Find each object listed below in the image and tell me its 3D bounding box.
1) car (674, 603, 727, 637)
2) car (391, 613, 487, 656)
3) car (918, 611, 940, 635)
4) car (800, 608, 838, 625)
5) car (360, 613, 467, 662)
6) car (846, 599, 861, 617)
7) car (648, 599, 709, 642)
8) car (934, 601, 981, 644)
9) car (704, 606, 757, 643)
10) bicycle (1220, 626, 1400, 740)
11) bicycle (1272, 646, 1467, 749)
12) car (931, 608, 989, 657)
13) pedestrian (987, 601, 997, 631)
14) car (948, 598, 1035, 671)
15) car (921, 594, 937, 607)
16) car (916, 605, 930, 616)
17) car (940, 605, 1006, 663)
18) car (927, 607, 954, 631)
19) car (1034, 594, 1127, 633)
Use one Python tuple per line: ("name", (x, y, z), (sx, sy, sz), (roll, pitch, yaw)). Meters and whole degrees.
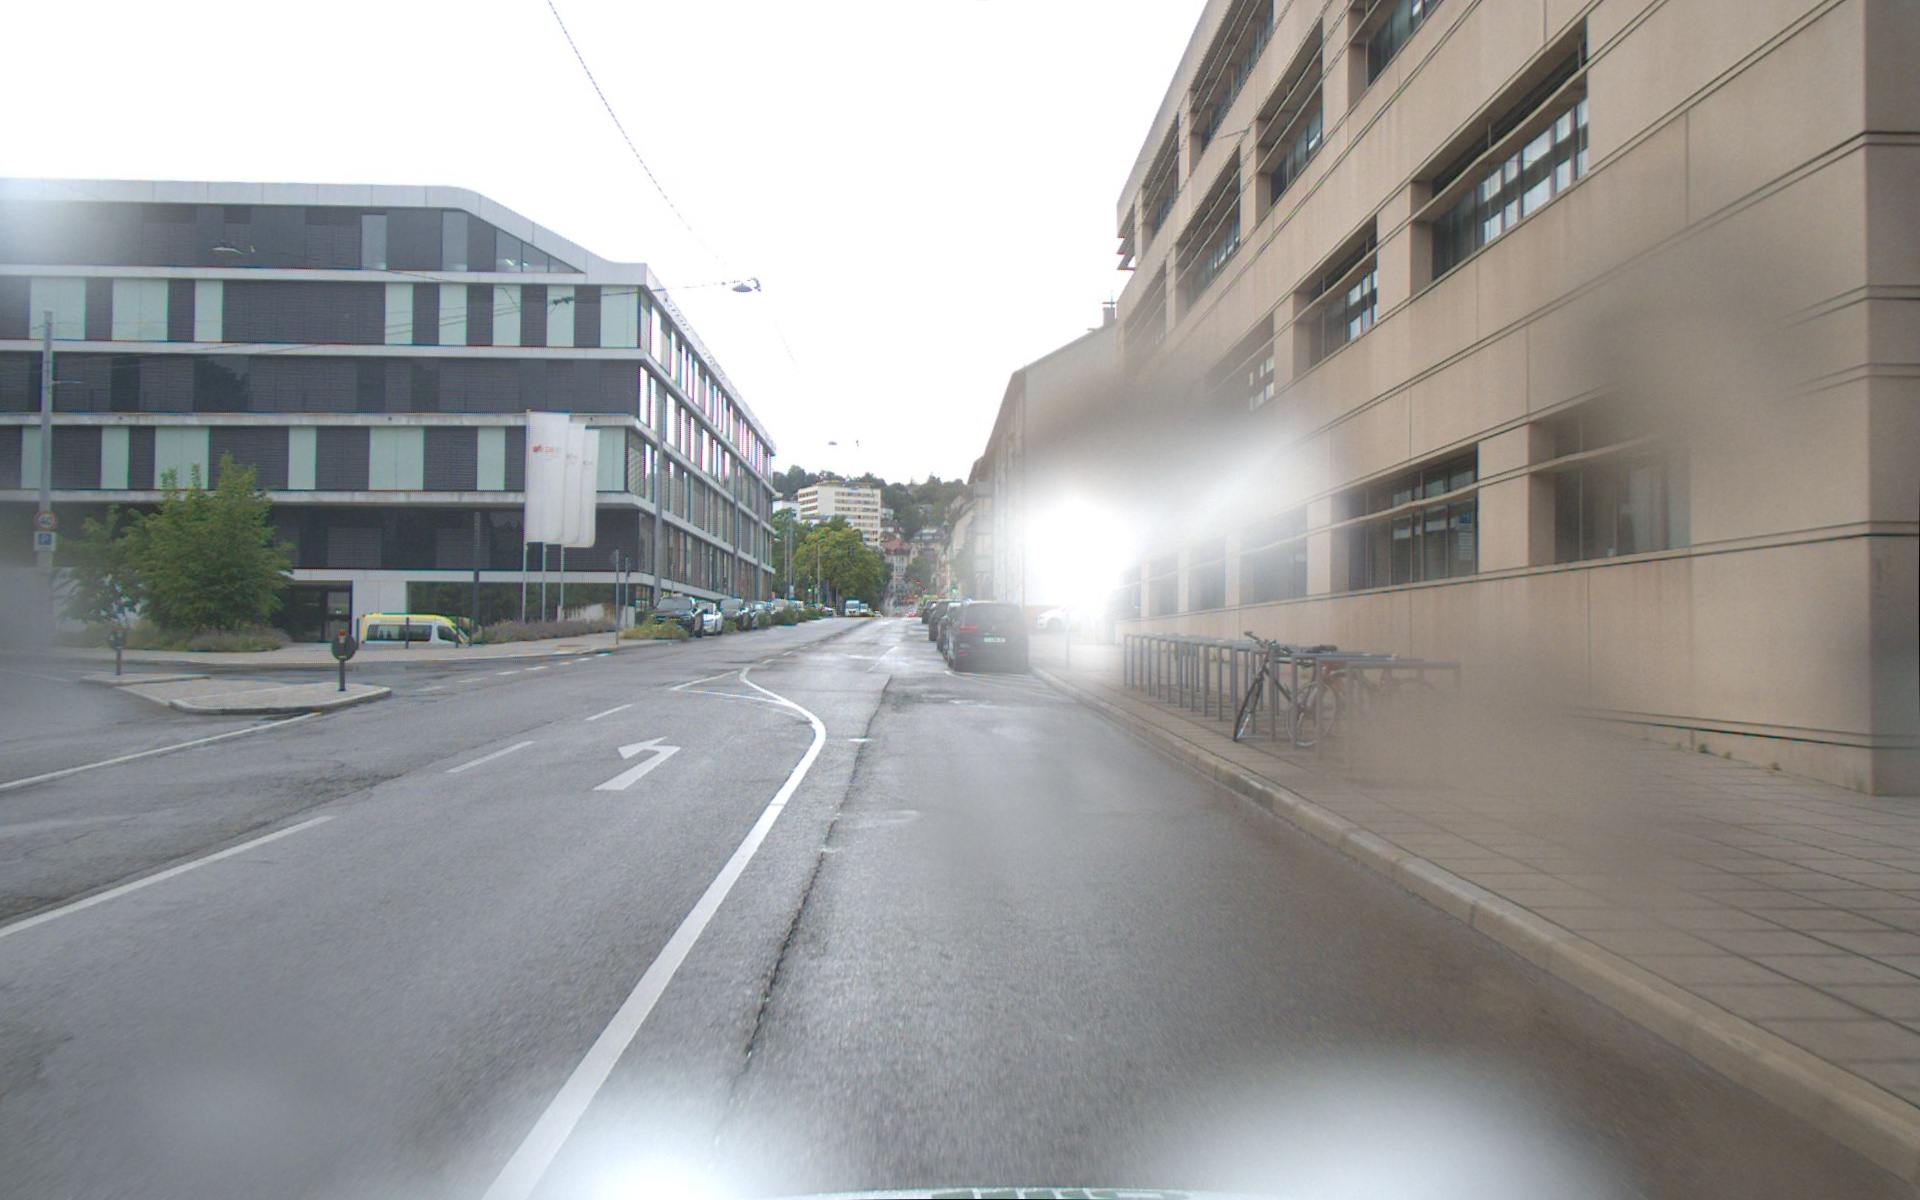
("car", (-11.588, 0.903, 74.103), (1.784, 1.443, 4.401), (1, -1, -1))
("car", (-26.221, 1.738, 83.313), (4.254, 2.068, 1.597), (1, -1, -2))
("car", (-2.377, 1.767, 127.280), (1.621, 1.768, 4.178), (1, 0, -2))
("car", (-15.288, 1.799, 179.005), (4.124, 1.698, 1.633), (-3, -5, 38))
("car", (-26.150, 1.784, 79.272), (4.503, 2.212, 1.928), (1, -1, -8))
("car", (-15.117, 1.150, 234.296), (2.063, 2.591, 4.747), (1, -1, -4))
("car", (-11.432, 0.827, 67.404), (1.812, 1.646, 4.489), (1, -1, -1))
("car", (-0.156, 0.985, 72.420), (1.896, 1.781, 4.794), (1, -1, -2))
("car", (-11.629, 1.255, 84.243), (1.922, 1.781, 4.942), (1, -1, 1))
("bicycle", (3.593, 0.843, 17.042), (1.696, 1.138, 0.659), (0, -1, -7))
("bicycle", (3.966, 0.939, 16.073), (1.724, 0.970, 0.659), (0, -1, -5))
("car", (-0.050, 1.080, 55.789), (1.708, 1.560, 4.316), (1, -1, -3))
("pedestrian", (2.038, 1.037, 105.936), (0.626, 1.903, 0.538), (1, -1, 0))
("car", (0.703, 0.803, 39.771), (1.736, 1.632, 4.391), (1, -1, -3))
("car", (-3.974, 0.071, 214.385), (1.828, 1.632, 4.189), (1, -1, 1))
("car", (-5.521, 1.618, 249.045), (1.828, 1.632, 4.189), (1, -1, 1))
("car", (0.344, 0.978, 48.064), (1.691, 1.539, 4.055), (3, -1, -2))
("car", (-1.268, 1.200, 106.894), (1.672, 1.480, 3.983), (1, -1, -2))
("car", (5.910, 0.658, 81.365), (4.349, 1.742, 1.904), (-2, -1, -3))
